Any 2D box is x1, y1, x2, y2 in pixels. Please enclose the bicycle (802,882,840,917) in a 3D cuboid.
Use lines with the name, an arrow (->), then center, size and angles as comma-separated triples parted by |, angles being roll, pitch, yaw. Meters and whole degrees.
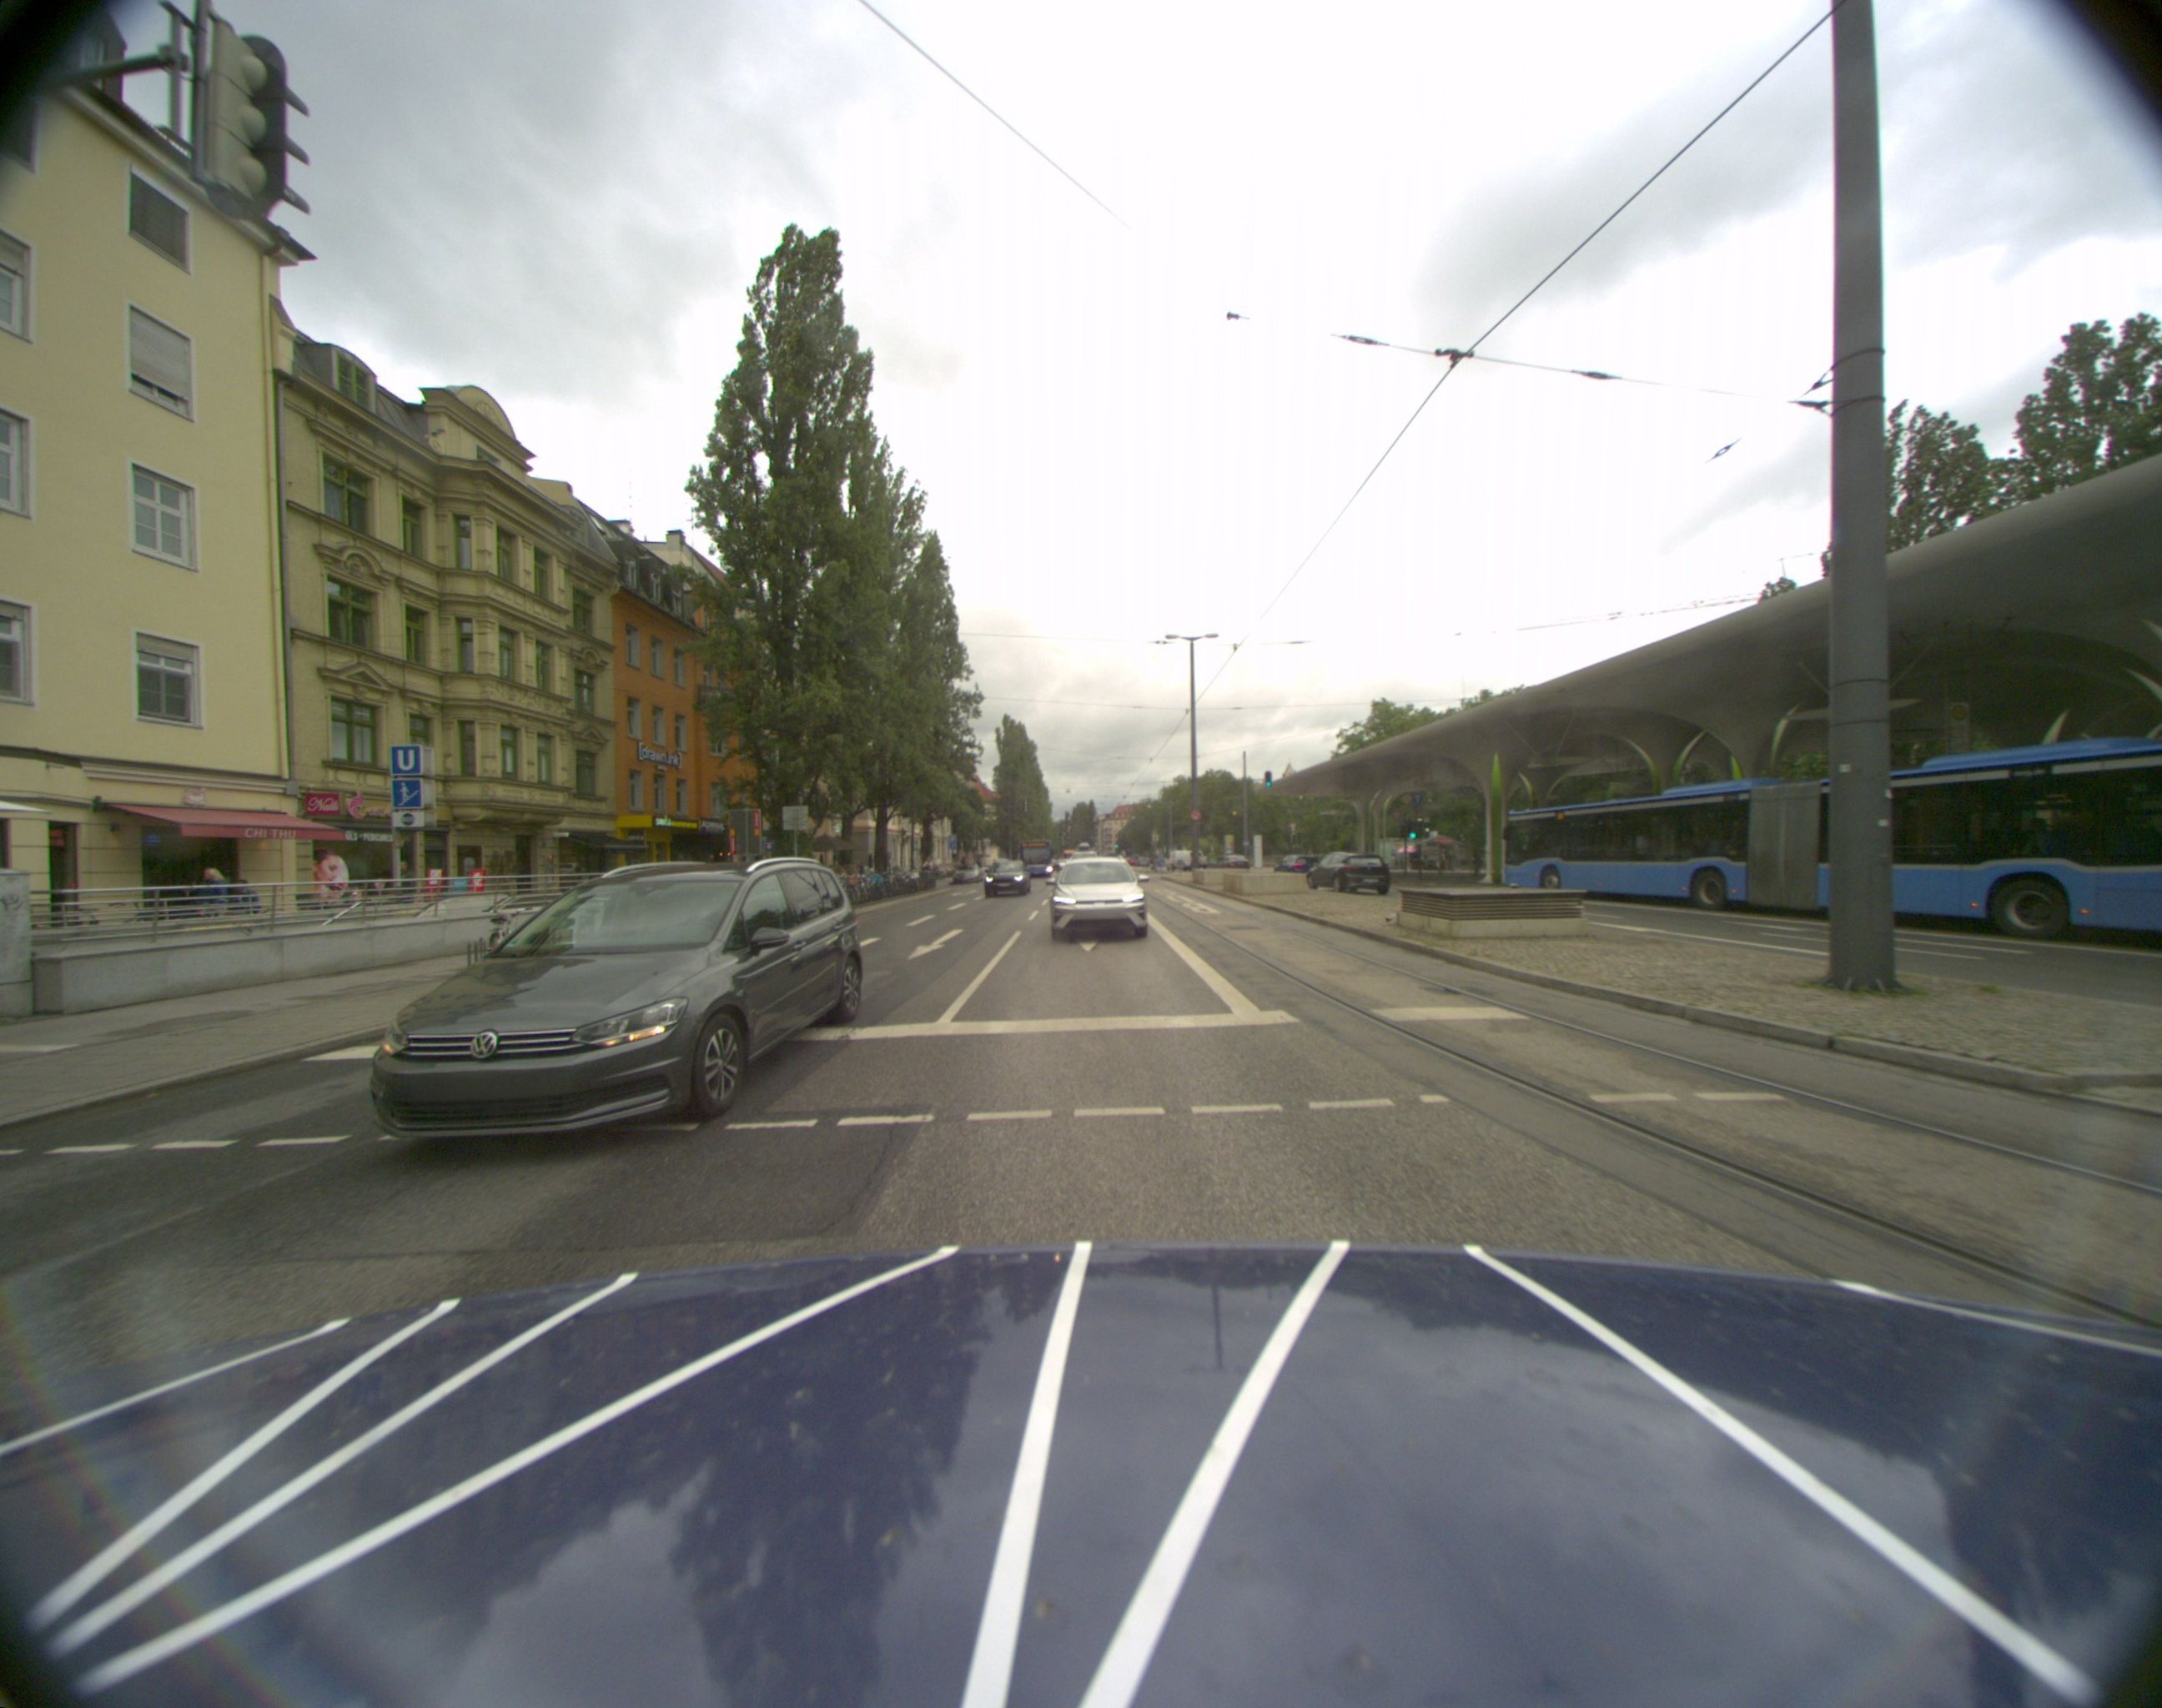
bicycle -> -8.060, 1.398, 23.507 | 0.326, 0.990, 1.837 | -1, 1, -45

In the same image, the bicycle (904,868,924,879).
bicycle -> -13.820, 1.578, 62.833 | 1.576, 0.830, 0.392 | -2, 1, -2

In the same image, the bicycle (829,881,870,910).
bicycle -> -8.160, 1.470, 26.762 | 1.837, 0.990, 0.326 | -3, -1, 37

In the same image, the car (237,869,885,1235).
car -> -3.115, 1.005, 6.018 | 1.776, 1.637, 4.708 | -2, 0, 1

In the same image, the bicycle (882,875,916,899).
bicycle -> -8.090, 1.468, 33.688 | 1.837, 0.990, 0.376 | -3, -1, 38

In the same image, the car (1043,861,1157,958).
car -> 0.376, 0.911, 14.687 | 1.812, 1.496, 4.953 | -1, 0, 2

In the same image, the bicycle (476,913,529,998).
bicycle -> -8.237, 1.401, 10.794 | 0.349, 0.990, 1.837 | -1, 1, -45

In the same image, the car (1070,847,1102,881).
car -> 0.302, 0.606, 49.617 | 1.998, 2.100, 3.999 | 0, 1, 0

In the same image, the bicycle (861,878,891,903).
bicycle -> -8.271, 1.477, 30.647 | 0.326, 0.990, 1.837 | -1, -1, -42

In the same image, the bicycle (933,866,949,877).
bicycle -> -13.354, 1.621, 72.344 | 0.391, 0.972, 1.842 | -1, 1, 27

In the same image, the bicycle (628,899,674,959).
bicycle -> -8.257, 1.407, 14.560 | 0.349, 0.990, 1.837 | -1, 1, -43

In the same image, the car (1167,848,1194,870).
car -> 8.924, 0.437, 68.283 | 1.791, 1.844, 4.217 | 0, 0, -2

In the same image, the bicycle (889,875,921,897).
bicycle -> -8.129, 1.471, 35.073 | 1.837, 0.990, 0.376 | -3, -1, 38

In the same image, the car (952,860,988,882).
car -> -7.853, 1.159, 54.250 | 1.999, 1.432, 4.528 | -1, 0, -1

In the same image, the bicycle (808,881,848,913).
bicycle -> -8.319, 1.412, 24.966 | 1.837, 0.990, 0.326 | -3, -1, 41

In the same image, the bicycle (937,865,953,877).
bicycle -> -12.906, 1.589, 72.294 | 0.391, 1.017, 1.842 | -1, 1, 27

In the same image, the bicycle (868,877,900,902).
bicycle -> -8.034, 1.463, 30.965 | 1.837, 0.990, 0.326 | -3, -1, 43

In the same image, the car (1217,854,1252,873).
car -> 12.009, 0.743, 59.721 | 1.677, 1.370, 4.613 | -2, 0, -1

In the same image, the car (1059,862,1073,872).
car -> -1.997, 1.683, 99.155 | 1.704, 1.360, 3.632 | 1, -1, 1

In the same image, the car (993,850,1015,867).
car -> -7.717, 0.438, 76.680 | 1.737, 1.651, 4.502 | -1, 0, 0

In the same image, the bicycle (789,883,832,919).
bicycle -> -8.112, 1.400, 22.733 | 1.836, 0.990, 0.349 | 0, 1, 41

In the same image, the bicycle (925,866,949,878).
bicycle -> -11.963, 1.476, 63.023 | 1.838, 0.911, 0.392 | -2, 1, 2

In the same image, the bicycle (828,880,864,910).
bicycle -> -8.129, 1.402, 26.233 | 0.326, 0.990, 1.837 | -1, -1, -45

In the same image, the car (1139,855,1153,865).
car -> 11.010, 0.920, 128.428 | 1.868, 1.629, 4.677 | 1, 0, -1

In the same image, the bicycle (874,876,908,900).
bicycle -> -8.064, 1.465, 32.231 | 1.837, 0.990, 0.326 | -3, -1, 38

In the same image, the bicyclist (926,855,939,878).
bicyclist -> -10.157, 0.847, 52.095 | 0.681, 1.594, 0.939 | -1, 1, 1

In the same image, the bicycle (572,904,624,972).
bicycle -> -8.256, 1.402, 12.951 | 0.349, 0.990, 1.837 | -1, 1, -45

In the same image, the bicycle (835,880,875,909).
bicycle -> -8.197, 1.472, 27.532 | 1.837, 0.990, 0.326 | -3, -1, 37

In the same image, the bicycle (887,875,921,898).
bicycle -> -8.025, 1.465, 34.435 | 1.837, 0.990, 0.376 | -3, -1, 38

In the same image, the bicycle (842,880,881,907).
bicycle -> -8.128, 1.469, 28.134 | 1.837, 0.990, 0.326 | -3, -1, 37

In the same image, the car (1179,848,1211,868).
car -> 11.560, 0.407, 77.402 | 2.181, 1.876, 6.155 | -1, 0, -1

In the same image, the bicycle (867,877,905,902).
bicycle -> -8.126, 1.469, 31.618 | 1.837, 0.990, 0.326 | -3, -1, 33

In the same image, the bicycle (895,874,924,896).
bicycle -> -8.081, 1.468, 35.810 | 1.837, 0.990, 0.376 | -3, -1, 45

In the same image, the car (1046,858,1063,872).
car -> -3.028, 1.250, 88.482 | 1.704, 1.425, 4.244 | 0, 2, 2

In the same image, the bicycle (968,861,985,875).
bicycle -> -8.455, 1.127, 61.534 | 0.360, 1.096, 1.740 | -1, 1, -44

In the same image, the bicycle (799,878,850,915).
bicycle -> -8.183, 1.336, 24.210 | 1.837, 1.106, 0.468 | -1, 0, 33

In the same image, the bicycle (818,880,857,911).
bicycle -> -8.199, 1.406, 25.541 | 1.837, 0.990, 0.326 | -3, -1, 41

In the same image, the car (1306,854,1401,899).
car -> 9.498, 0.743, 26.873 | 1.848, 1.408, 4.034 | -1, 0, -1

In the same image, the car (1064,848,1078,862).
car -> -1.980, 0.140, 156.556 | 2.806, 2.835, 5.114 | -1, 0, 0

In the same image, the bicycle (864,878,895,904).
bicycle -> -7.962, 1.459, 29.938 | 0.326, 0.990, 1.837 | -1, -1, -43

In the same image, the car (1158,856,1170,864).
car -> 15.355, 1.107, 141.022 | 1.893, 1.521, 4.000 | -1, 0, 1

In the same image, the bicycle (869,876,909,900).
bicycle -> -8.380, 1.480, 33.072 | 1.838, 0.990, 0.376 | -2, -1, 25

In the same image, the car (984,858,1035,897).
car -> -3.127, 1.011, 33.882 | 1.780, 1.495, 3.970 | -2, 1, 0

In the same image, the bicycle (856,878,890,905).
bicycle -> -8.076, 1.466, 29.497 | 1.837, 0.990, 0.326 | -3, -1, 43

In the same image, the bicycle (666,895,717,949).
bicycle -> -8.143, 1.401, 15.844 | 1.837, 0.990, 0.349 | 0, 1, 44

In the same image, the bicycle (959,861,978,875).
bicycle -> -9.037, 1.142, 61.009 | 1.740, 1.096, 0.360 | -1, 1, 35

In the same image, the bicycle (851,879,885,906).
bicycle -> -8.102, 1.467, 28.845 | 1.837, 0.990, 0.326 | -3, -1, 43

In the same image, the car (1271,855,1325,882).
car -> 12.010, 0.757, 42.293 | 1.682, 1.387, 4.232 | -1, 0, -1
